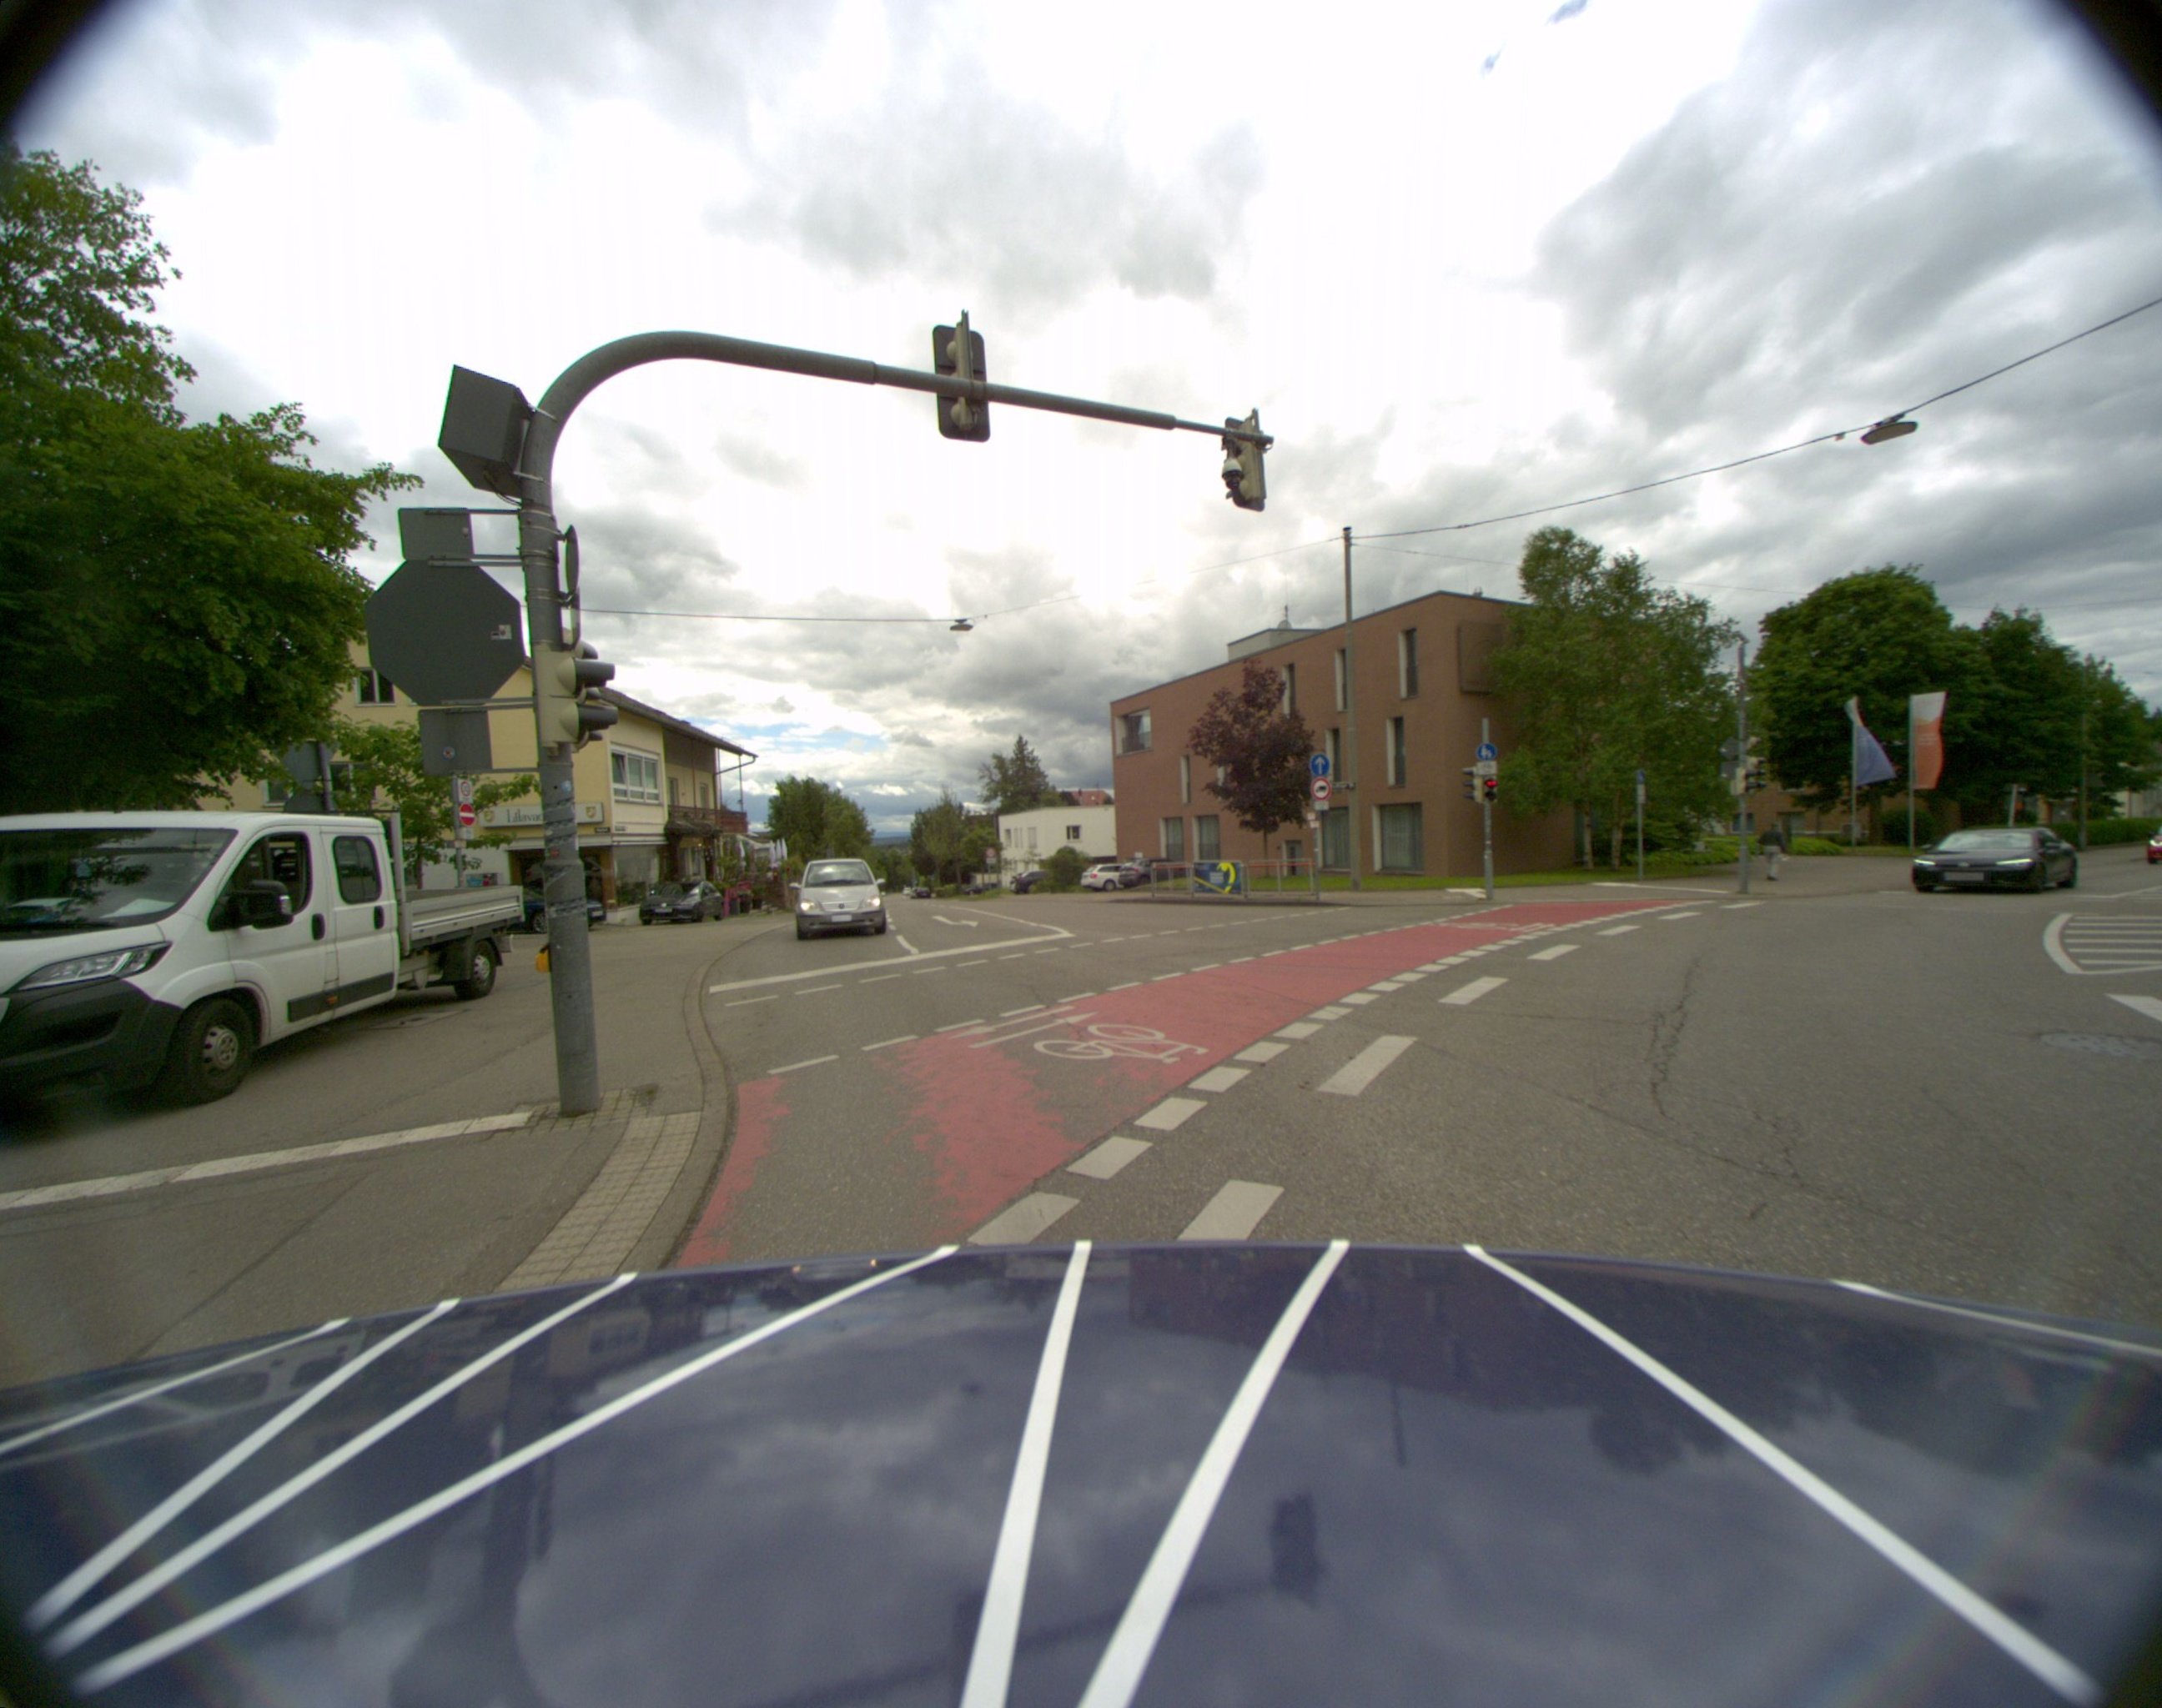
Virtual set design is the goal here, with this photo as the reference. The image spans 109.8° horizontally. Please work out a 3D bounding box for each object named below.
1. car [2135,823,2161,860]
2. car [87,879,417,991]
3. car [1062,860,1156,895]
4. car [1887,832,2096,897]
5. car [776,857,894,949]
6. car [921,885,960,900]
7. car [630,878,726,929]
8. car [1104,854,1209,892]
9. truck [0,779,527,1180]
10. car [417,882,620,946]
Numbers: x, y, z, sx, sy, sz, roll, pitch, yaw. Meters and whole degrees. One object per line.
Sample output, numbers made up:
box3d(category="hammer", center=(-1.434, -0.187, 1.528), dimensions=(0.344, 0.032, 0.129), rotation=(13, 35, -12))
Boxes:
box3d(category="car", center=(39.779, -0.495, 27.223), dimensions=(4.005, 1.193, 1.995), rotation=(-4, 2, -31))
box3d(category="car", center=(-14.317, 1.366, 13.244), dimensions=(4.061, 1.630, 1.870), rotation=(-2, 0, 9))
box3d(category="car", center=(1.452, 1.219, 39.565), dimensions=(4.440, 1.549, 1.997), rotation=(-2, 0, -20))
box3d(category="car", center=(20.968, 0.171, 17.515), dimensions=(4.004, 1.237, 1.995), rotation=(-2, 3, -23))
box3d(category="car", center=(-5.389, 0.959, 16.297), dimensions=(2.002, 1.586, 3.993), rotation=(-4, 0, -23))
box3d(category="car", center=(-17.520, 4.767, 94.494), dimensions=(4.440, 1.549, 1.997), rotation=(-2, 0, -20))
box3d(category="car", center=(-13.652, 1.677, 26.001), dimensions=(1.876, 1.483, 3.880), rotation=(-3, -3, -13))
box3d(category="car", center=(3.560, 0.887, 35.793), dimensions=(4.440, 1.549, 1.997), rotation=(-2, 0, -20))
box3d(category="truck", center=(-7.962, 0.745, 7.159), dimensions=(2.406, 2.338, 6.179), rotation=(-3, 1, -17))
box3d(category="car", center=(-15.893, 1.665, 21.652), dimensions=(4.226, 1.519, 1.932), rotation=(-3, -1, -3))
